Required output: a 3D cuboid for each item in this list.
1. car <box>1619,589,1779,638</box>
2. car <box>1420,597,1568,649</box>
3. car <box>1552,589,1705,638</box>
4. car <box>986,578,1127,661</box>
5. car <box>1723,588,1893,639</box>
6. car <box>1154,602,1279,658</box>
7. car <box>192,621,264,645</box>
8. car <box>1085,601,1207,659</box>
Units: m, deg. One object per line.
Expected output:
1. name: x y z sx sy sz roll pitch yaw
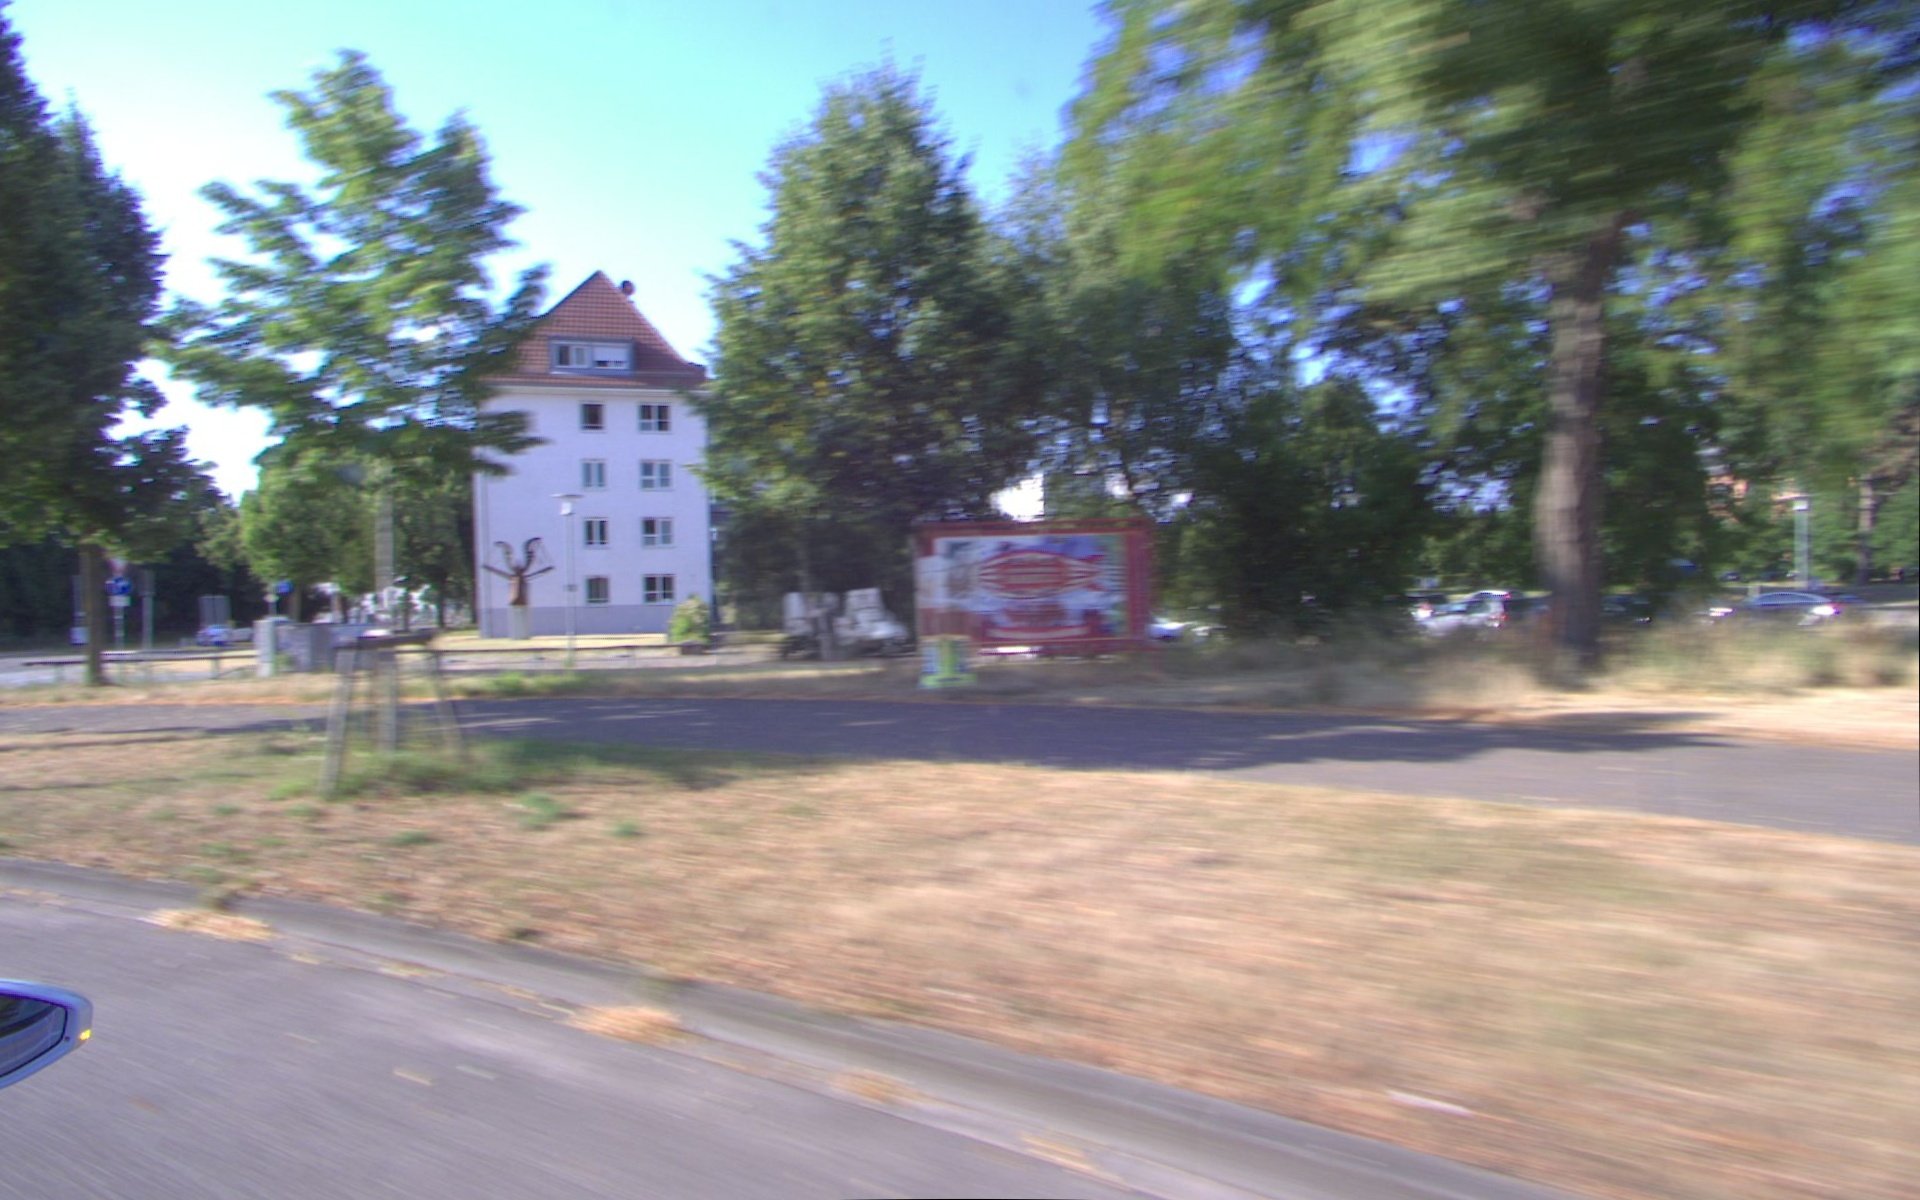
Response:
1. car: 24.289 0.441 33.100 1.837 1.462 3.995 -1 0 -14
2. car: 16.442 0.680 31.084 1.837 1.462 3.995 -1 0 -14
3. car: 21.805 0.438 32.857 1.837 1.462 3.995 -1 0 -14
4. car: 2.529 0.559 27.945 2.228 2.040 5.213 -1 -1 -15
5. car: 28.647 0.443 33.997 1.964 1.595 3.994 -1 0 -15
6. car: 7.404 0.841 29.295 1.837 1.462 3.995 -1 0 -14
7. car: -46.576 2.061 63.810 1.730 1.440 3.624 0 0 5
8. car: 5.108 0.802 28.063 1.837 1.462 3.995 -1 0 -14
